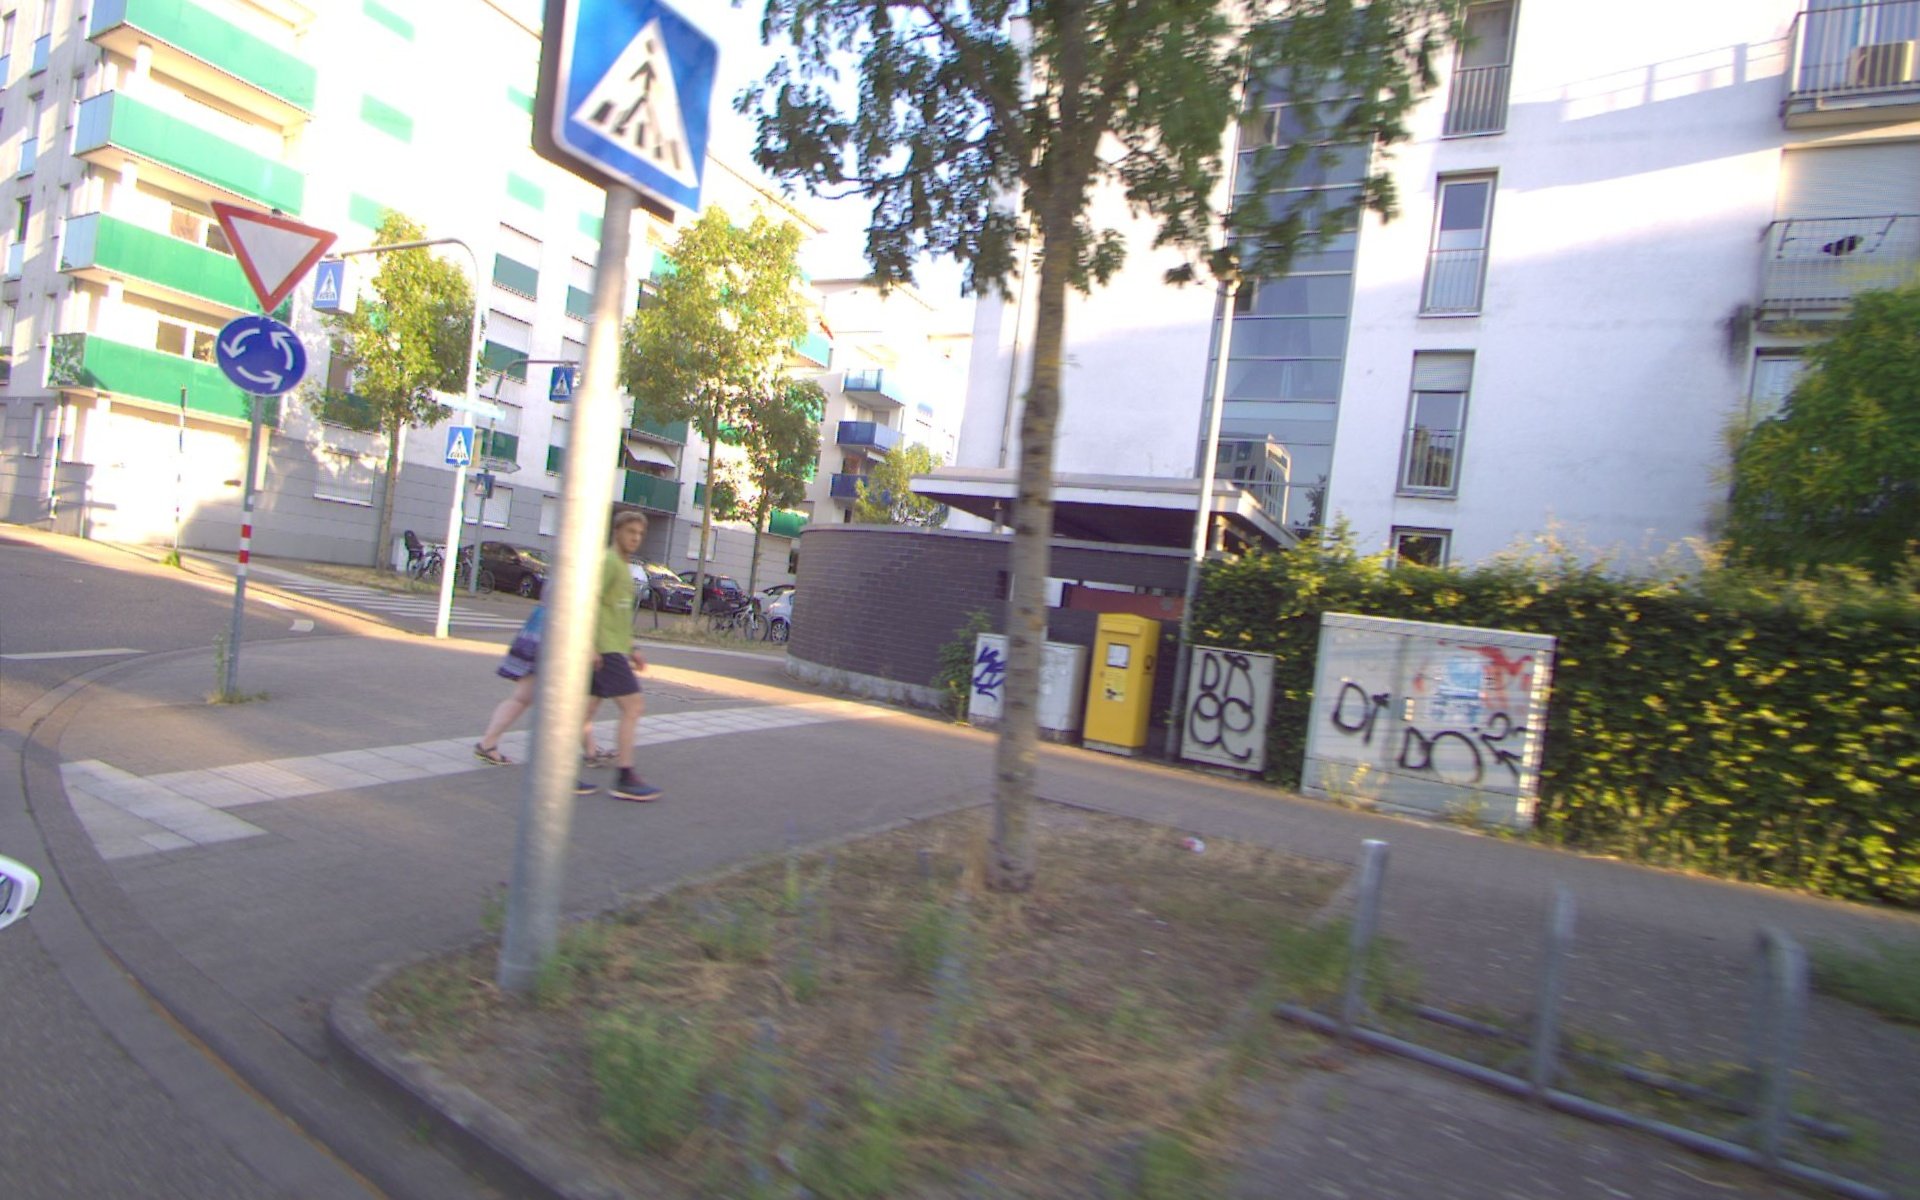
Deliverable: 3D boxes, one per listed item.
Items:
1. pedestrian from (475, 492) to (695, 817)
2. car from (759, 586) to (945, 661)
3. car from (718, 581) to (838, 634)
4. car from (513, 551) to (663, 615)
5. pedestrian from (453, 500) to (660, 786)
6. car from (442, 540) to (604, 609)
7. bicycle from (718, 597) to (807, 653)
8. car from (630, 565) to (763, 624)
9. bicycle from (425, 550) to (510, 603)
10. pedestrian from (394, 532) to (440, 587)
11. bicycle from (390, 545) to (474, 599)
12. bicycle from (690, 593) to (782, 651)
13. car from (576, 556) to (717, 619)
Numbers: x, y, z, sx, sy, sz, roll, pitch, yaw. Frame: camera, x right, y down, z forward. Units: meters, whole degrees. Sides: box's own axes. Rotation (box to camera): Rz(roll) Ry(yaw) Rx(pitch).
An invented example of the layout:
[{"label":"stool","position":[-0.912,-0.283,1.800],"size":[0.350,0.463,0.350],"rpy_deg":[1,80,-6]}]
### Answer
[{"label":"pedestrian","position":[-2.194,0.305,5.851],"size":[1.009,1.716,0.754],"rpy_deg":[3,2,-29]},{"label":"car","position":[-2.679,0.587,24.920],"size":[4.046,1.470,1.998],"rpy_deg":[4,-2,26]},{"label":"car","position":[-7.543,0.317,41.578],"size":[4.515,1.572,1.997],"rpy_deg":[7,0,29]},{"label":"car","position":[-12.013,-0.551,32.415],"size":[4.515,1.471,1.997],"rpy_deg":[7,0,29]},{"label":"pedestrian","position":[-2.640,0.267,6.628],"size":[0.689,1.715,0.982],"rpy_deg":[4,1,37]},{"label":"car","position":[-13.020,-0.768,29.929],"size":[4.515,1.471,1.997],"rpy_deg":[7,0,29]},{"label":"bicycle","position":[-4.565,0.585,23.242],"size":[1.908,1.127,0.723],"rpy_deg":[4,-1,26]},{"label":"car","position":[-9.788,-0.210,37.294],"size":[4.515,1.572,1.997],"rpy_deg":[7,0,29]},{"label":"bicycle","position":[-13.575,-0.642,27.697],"size":[2.478,1.165,0.689],"rpy_deg":[7,0,28]},{"label":"pedestrian","position":[-14.878,-1.116,27.574],"size":[0.789,1.372,0.658],"rpy_deg":[7,1,28]},{"label":"bicycle","position":[-14.295,-0.768,27.232],"size":[2.418,1.165,0.697],"rpy_deg":[7,0,28]},{"label":"bicycle","position":[-5.021,0.485,22.538],"size":[1.908,1.127,0.723],"rpy_deg":[4,-1,26]},{"label":"car","position":[-10.842,-0.444,34.759],"size":[4.515,1.572,1.997],"rpy_deg":[7,0,29]}]
